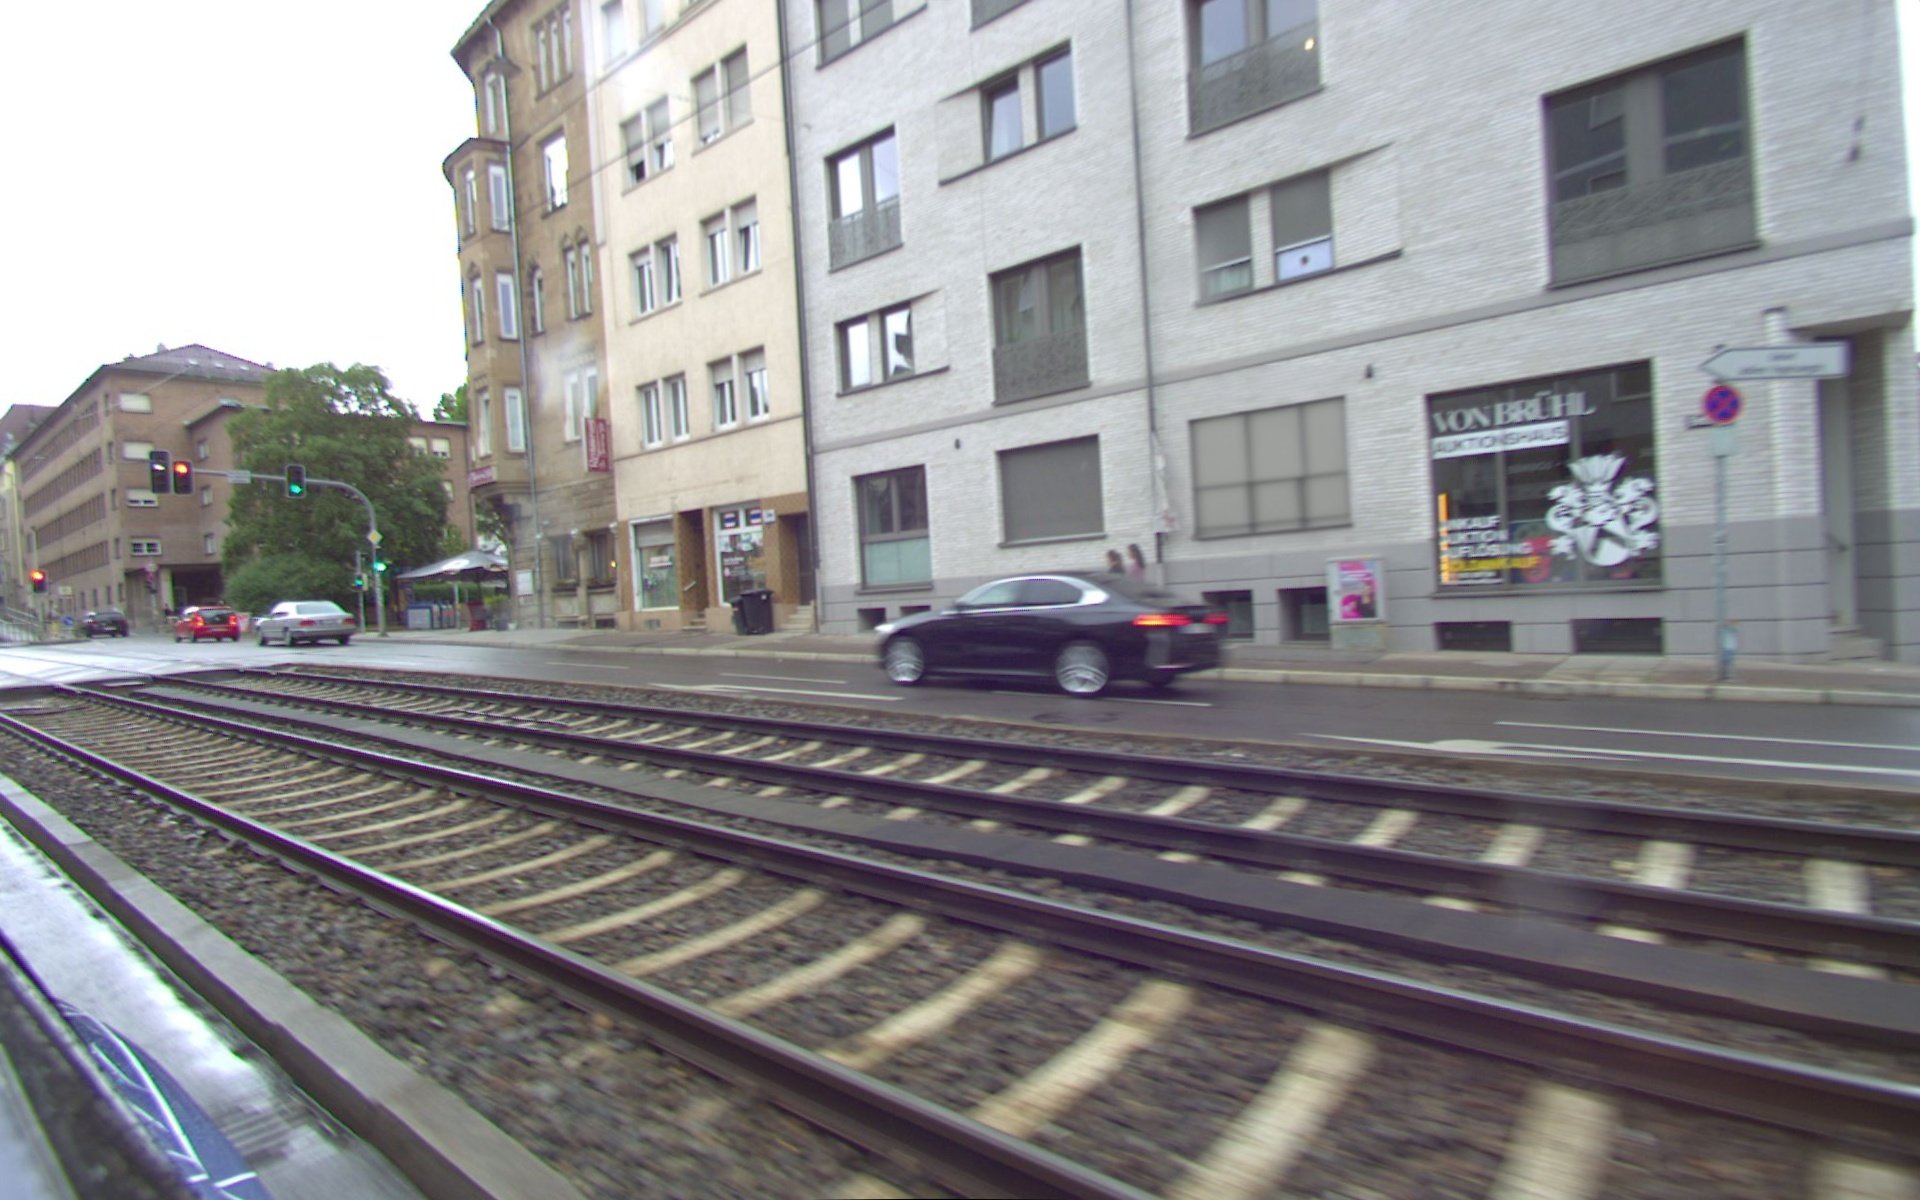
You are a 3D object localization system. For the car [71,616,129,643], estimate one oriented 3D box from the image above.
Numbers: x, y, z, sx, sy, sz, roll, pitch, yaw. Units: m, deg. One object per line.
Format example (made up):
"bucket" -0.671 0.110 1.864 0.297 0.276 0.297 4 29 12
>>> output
"car" -46.403 1.559 54.576 3.943 1.346 1.759 -1 1 41

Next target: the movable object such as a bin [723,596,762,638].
"movable object such as a bin" -5.228 0.396 24.353 0.563 0.934 0.623 -1 5 40

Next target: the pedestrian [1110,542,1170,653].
"pedestrian" 2.912 -0.050 16.372 0.658 1.730 0.595 -1 3 43

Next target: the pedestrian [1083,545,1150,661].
"pedestrian" 2.447 0.040 15.828 0.746 1.730 0.595 -1 3 43

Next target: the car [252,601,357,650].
"car" -21.602 0.828 33.286 4.641 1.472 1.695 -1 1 41

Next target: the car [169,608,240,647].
"car" -31.101 1.116 41.616 3.385 1.461 1.610 -1 1 41

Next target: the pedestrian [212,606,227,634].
"pedestrian" -45.871 1.244 62.675 0.464 1.760 0.616 -1 -2 37

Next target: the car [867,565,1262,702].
"car" 1.191 0.383 13.192 4.859 1.468 2.066 -1 0 42

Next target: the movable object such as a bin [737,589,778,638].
"movable object such as a bin" -4.776 0.318 23.879 0.563 1.088 0.623 -1 5 40
